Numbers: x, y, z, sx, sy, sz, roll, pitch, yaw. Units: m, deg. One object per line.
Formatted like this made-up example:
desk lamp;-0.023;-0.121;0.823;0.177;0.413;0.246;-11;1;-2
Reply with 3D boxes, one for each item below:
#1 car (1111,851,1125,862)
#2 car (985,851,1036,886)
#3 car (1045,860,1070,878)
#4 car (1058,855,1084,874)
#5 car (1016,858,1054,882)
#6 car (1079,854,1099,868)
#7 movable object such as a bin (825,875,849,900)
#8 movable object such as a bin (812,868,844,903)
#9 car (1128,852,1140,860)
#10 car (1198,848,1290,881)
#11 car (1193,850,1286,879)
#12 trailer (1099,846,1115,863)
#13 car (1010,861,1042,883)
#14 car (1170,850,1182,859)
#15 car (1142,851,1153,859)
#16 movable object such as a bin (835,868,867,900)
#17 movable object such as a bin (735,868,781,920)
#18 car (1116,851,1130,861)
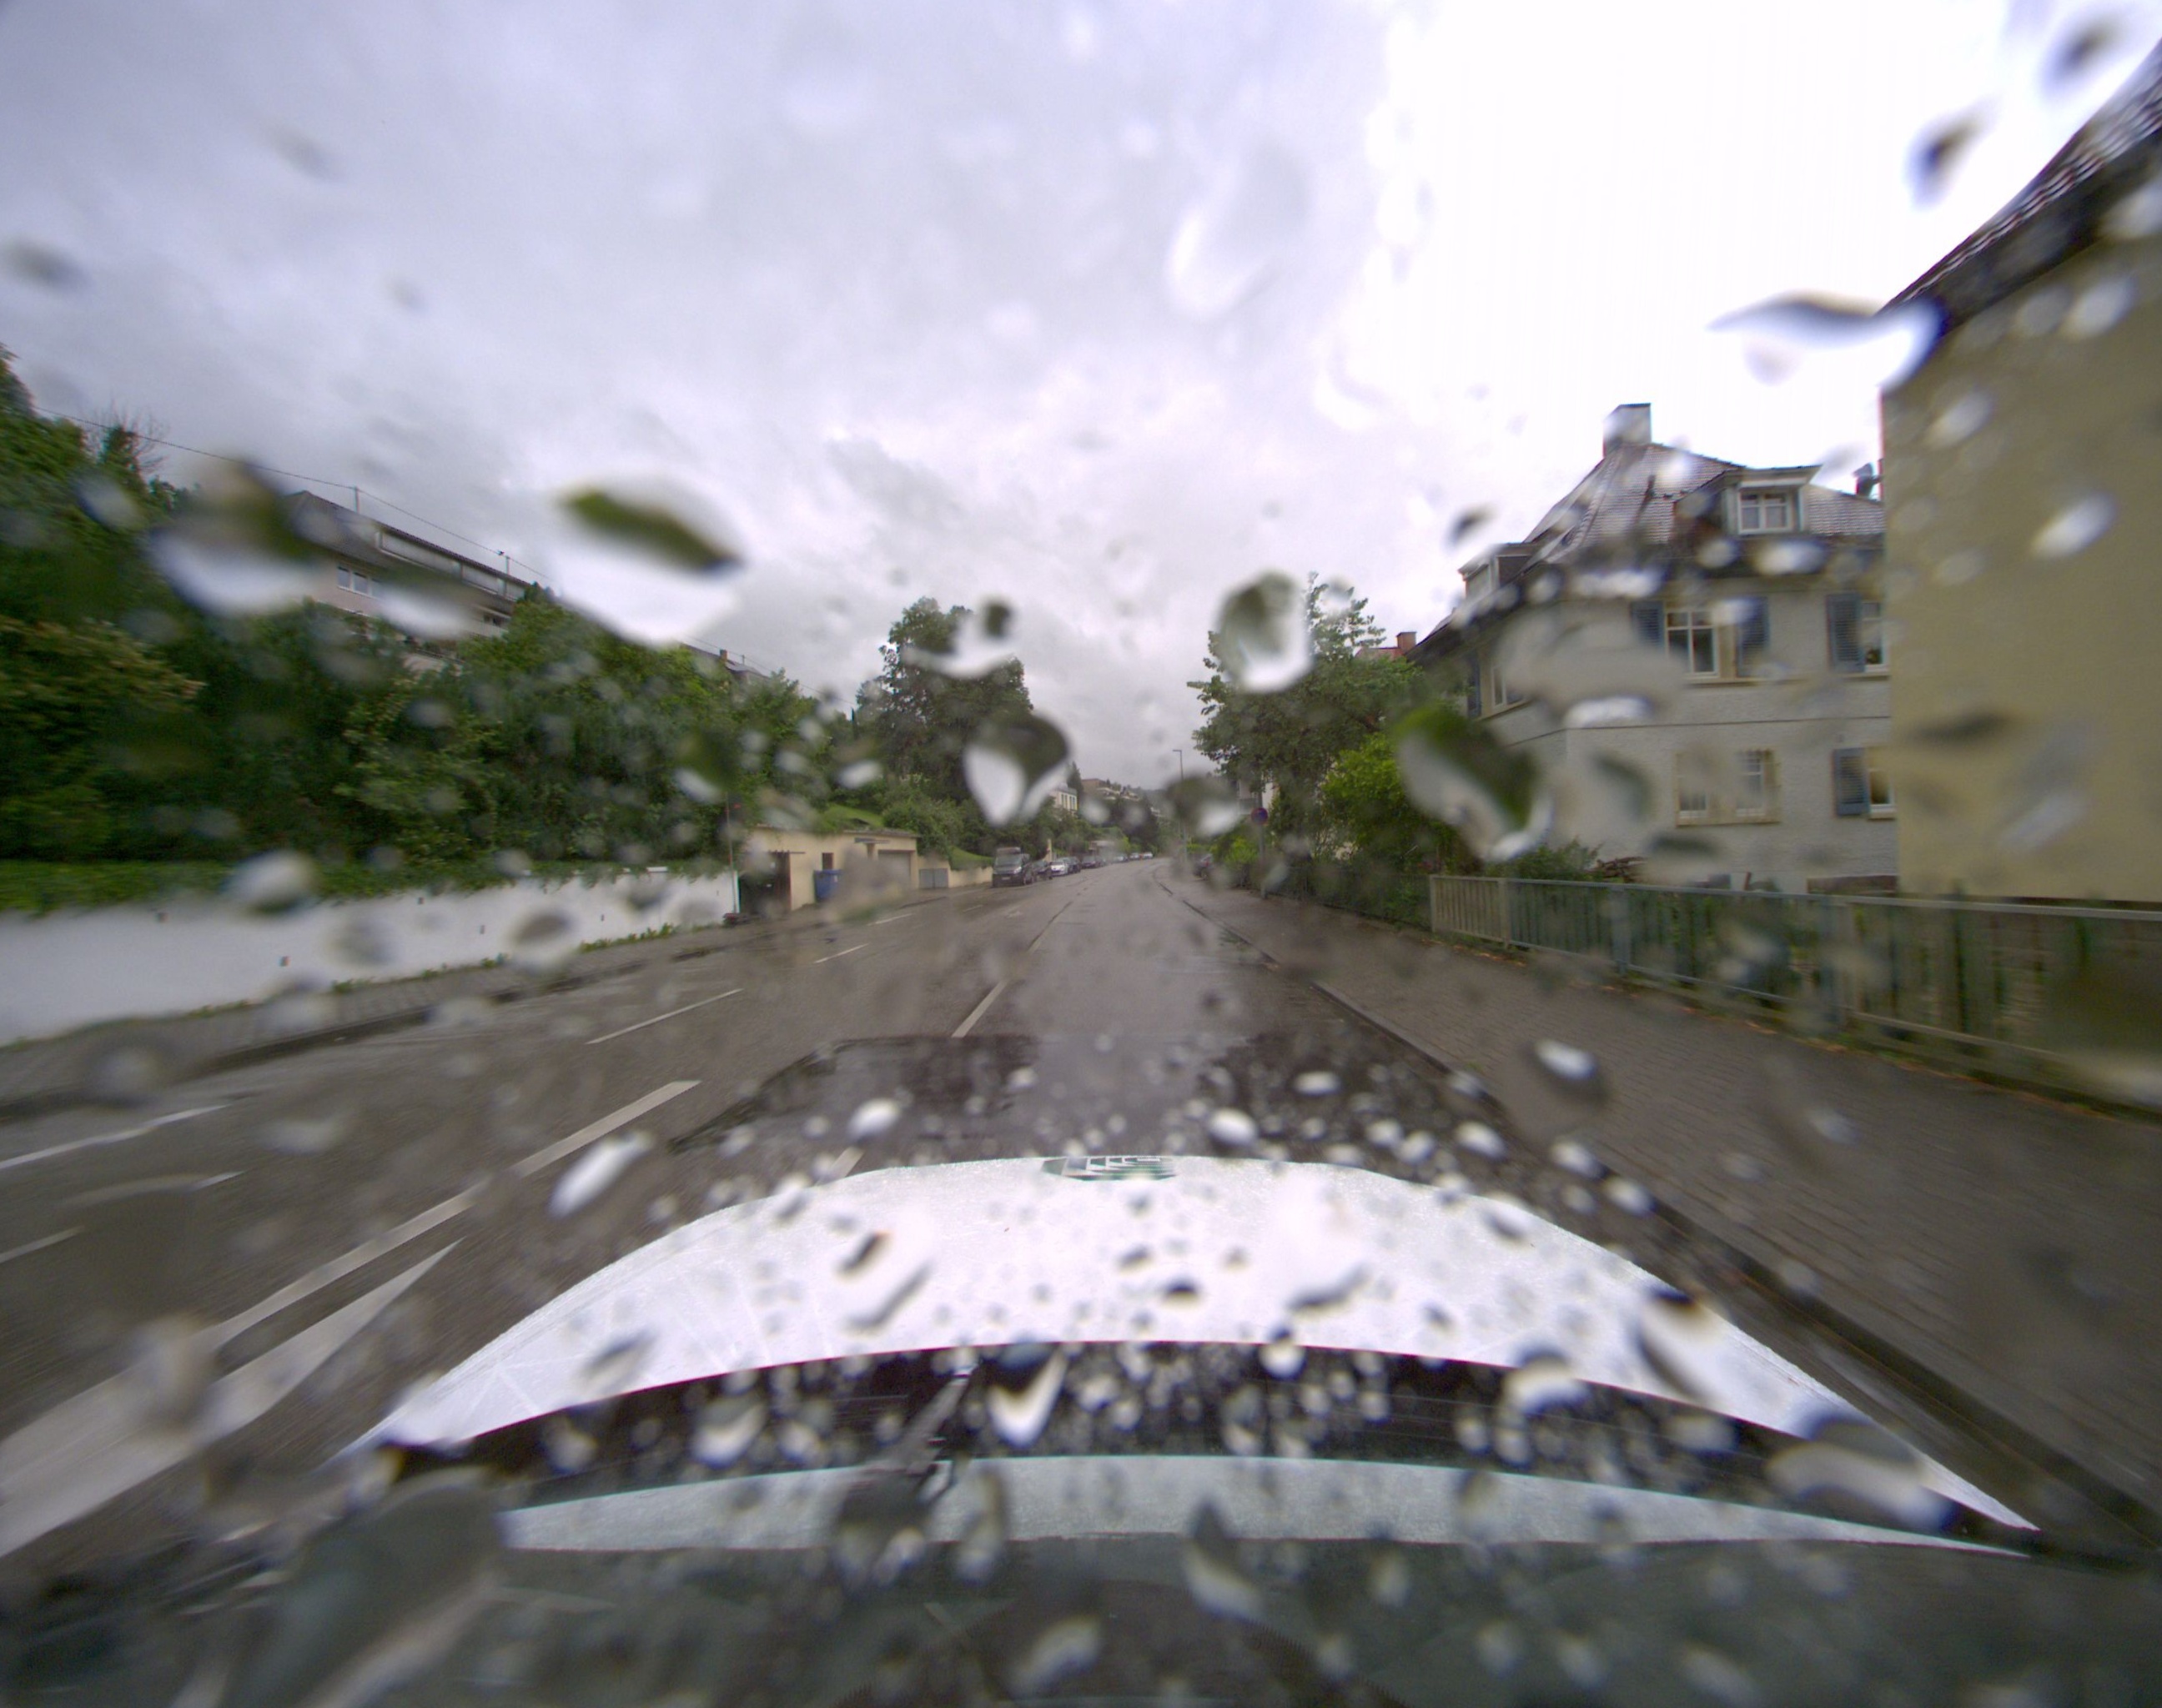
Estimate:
car;5.978;0.403;131.880;1.745;1.539;3.766;-6;0;9
car;-4.269;0.855;50.314;2.148;1.919;5.331;-3;-1;5
car;-2.036;1.312;71.935;1.709;1.365;4.087;-5;0;4
car;-0.987;1.070;81.787;1.864;1.626;4.602;-5;0;7
car;-3.386;1.160;60.586;1.898;1.480;4.764;-5;-1;6
car;1.004;0.888;99.747;1.776;1.454;4.764;-5;0;6
movable object such as a bin;-10.277;1.411;34.302;0.731;1.042;0.609;-1;-1;7
movable object such as a bin;-10.359;1.286;33.398;0.816;1.382;1.137;-2;0;7
car;10.051;0.393;154.403;1.745;1.402;3.780;-5;0;9
car;7.843;0.514;39.366;3.948;1.457;1.783;-2;0;37
car;8.304;0.560;42.845;4.325;1.364;1.932;-2;-1;37
trailer;3.790;0.061;117.886;1.527;2.399;3.082;-5;0;11
car;-3.708;1.190;55.659;1.557;1.364;3.911;-4;-1;4
car;18.009;0.073;153.732;1.777;1.460;4.323;-2;0;13
car;14.168;0.214;173.201;1.745;1.498;4.232;-4;-1;10
movable object such as a bin;-10.030;1.278;35.533;0.816;1.314;1.405;-2;0;7
movable object such as a bin;-9.267;1.146;23.390;0.929;1.445;0.862;1;-1;1
car;7.111;0.342;137.295;1.745;1.409;3.714;-6;0;9
